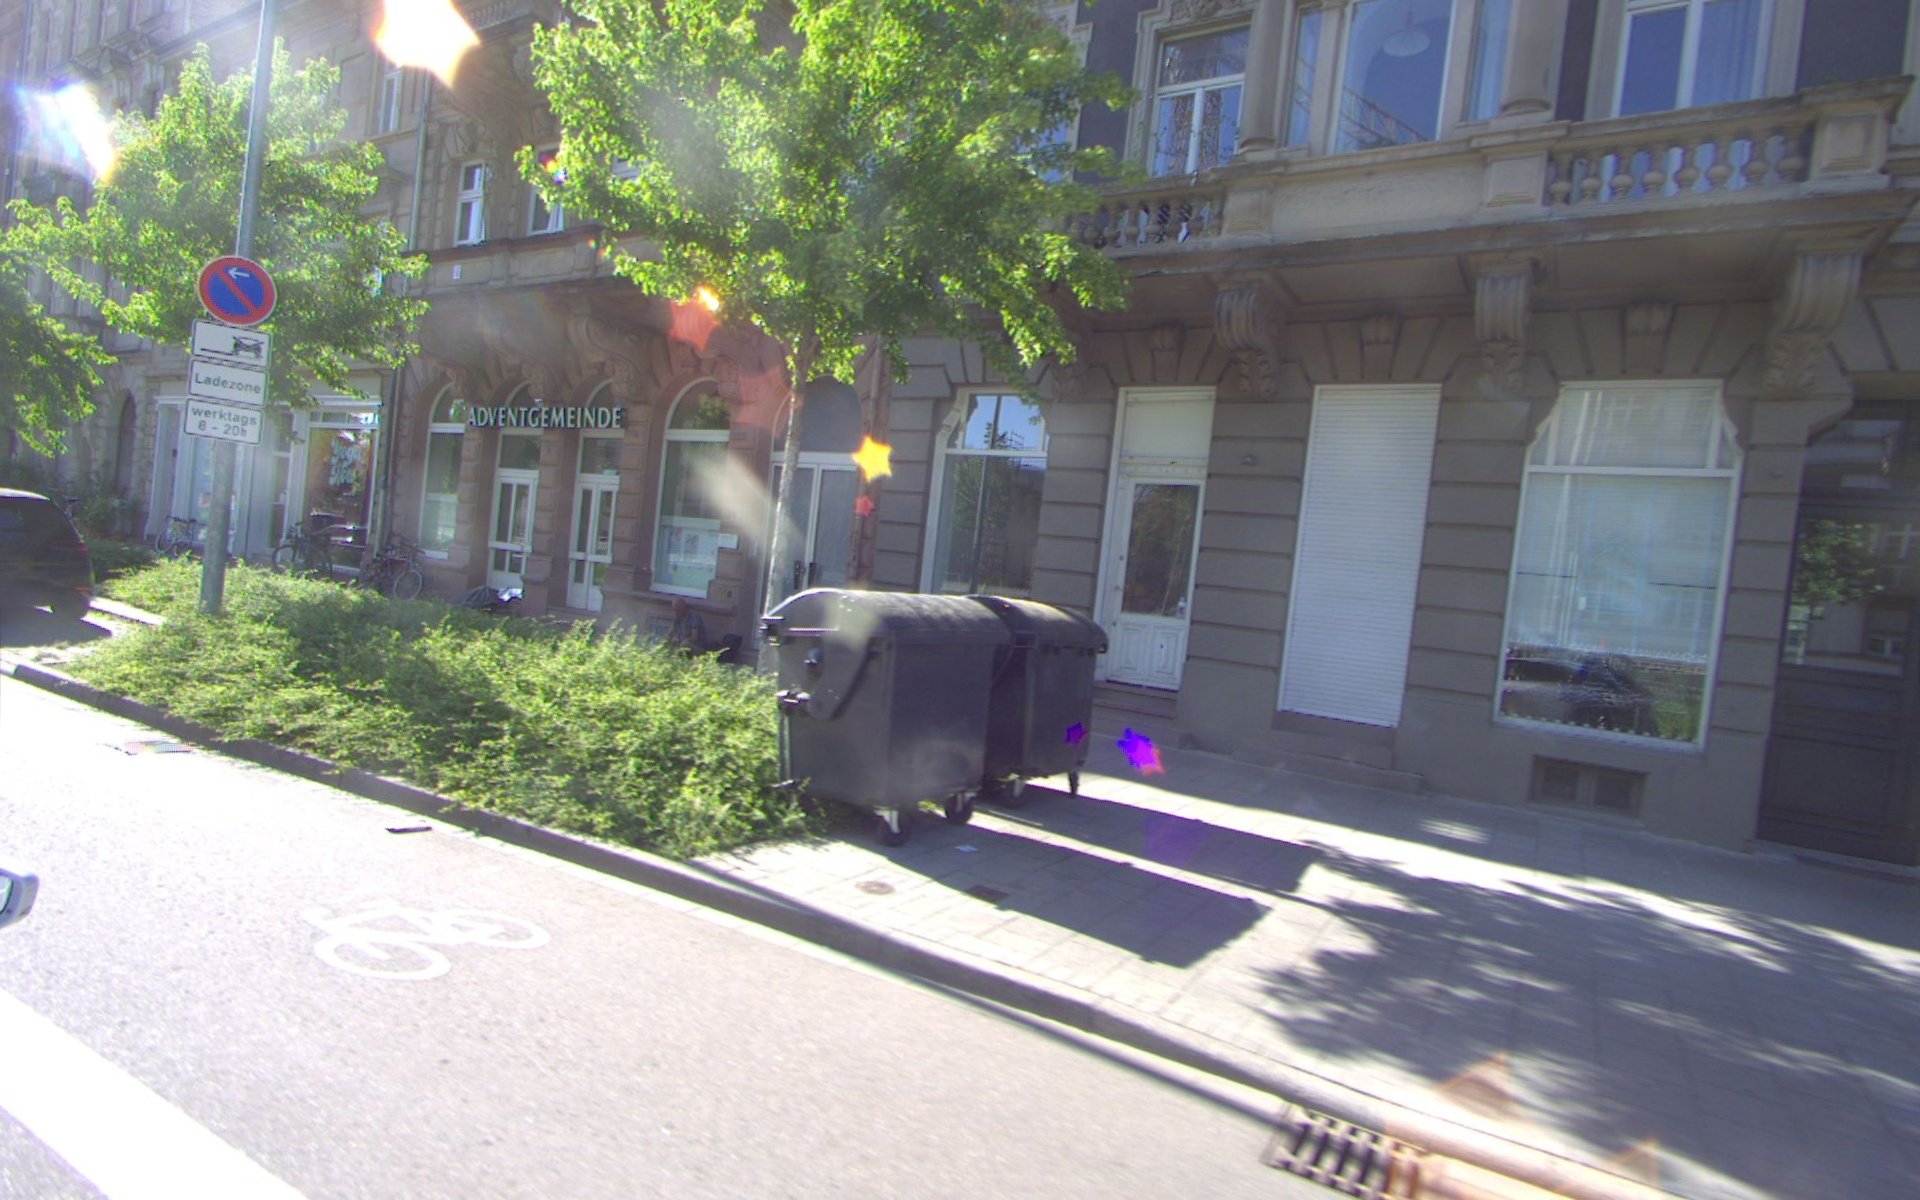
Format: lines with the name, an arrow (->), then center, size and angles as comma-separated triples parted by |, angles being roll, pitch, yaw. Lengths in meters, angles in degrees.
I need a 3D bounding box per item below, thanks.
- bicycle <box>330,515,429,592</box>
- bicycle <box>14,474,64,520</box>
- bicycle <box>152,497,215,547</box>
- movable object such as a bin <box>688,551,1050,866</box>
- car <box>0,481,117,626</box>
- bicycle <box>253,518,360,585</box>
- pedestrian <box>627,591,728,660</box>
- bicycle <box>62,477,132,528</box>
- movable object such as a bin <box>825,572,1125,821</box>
bicycle -> -10.563, -0.844, 18.279 | 1.771, 1.217, 0.748 | 7, 3, 32
bicycle -> -25.771, -2.891, 28.143 | 2.023, 1.105, 0.481 | 8, 3, 32
bicycle -> -18.312, -1.844, 23.699 | 1.979, 0.957, 0.447 | 8, 2, 32
movable object such as a bin -> -0.566, 0.600, 6.237 | 1.618, 1.482, 1.271 | 10, 2, 36
car -> -11.953, -0.692, 11.770 | 4.372, 1.497, 1.766 | 7, 3, 29
bicycle -> -13.029, -0.970, 20.037 | 2.144, 1.120, 0.875 | 8, 5, 29
pedestrian -> -3.960, 0.369, 14.141 | 0.962, 0.828, 0.873 | 7, 0, 18
bicycle -> -22.182, -2.510, 25.853 | 2.162, 1.105, 0.721 | 8, 3, 32
movable object such as a bin -> 0.121, 0.641, 7.691 | 1.720, 1.516, 1.372 | 7, 4, 33
